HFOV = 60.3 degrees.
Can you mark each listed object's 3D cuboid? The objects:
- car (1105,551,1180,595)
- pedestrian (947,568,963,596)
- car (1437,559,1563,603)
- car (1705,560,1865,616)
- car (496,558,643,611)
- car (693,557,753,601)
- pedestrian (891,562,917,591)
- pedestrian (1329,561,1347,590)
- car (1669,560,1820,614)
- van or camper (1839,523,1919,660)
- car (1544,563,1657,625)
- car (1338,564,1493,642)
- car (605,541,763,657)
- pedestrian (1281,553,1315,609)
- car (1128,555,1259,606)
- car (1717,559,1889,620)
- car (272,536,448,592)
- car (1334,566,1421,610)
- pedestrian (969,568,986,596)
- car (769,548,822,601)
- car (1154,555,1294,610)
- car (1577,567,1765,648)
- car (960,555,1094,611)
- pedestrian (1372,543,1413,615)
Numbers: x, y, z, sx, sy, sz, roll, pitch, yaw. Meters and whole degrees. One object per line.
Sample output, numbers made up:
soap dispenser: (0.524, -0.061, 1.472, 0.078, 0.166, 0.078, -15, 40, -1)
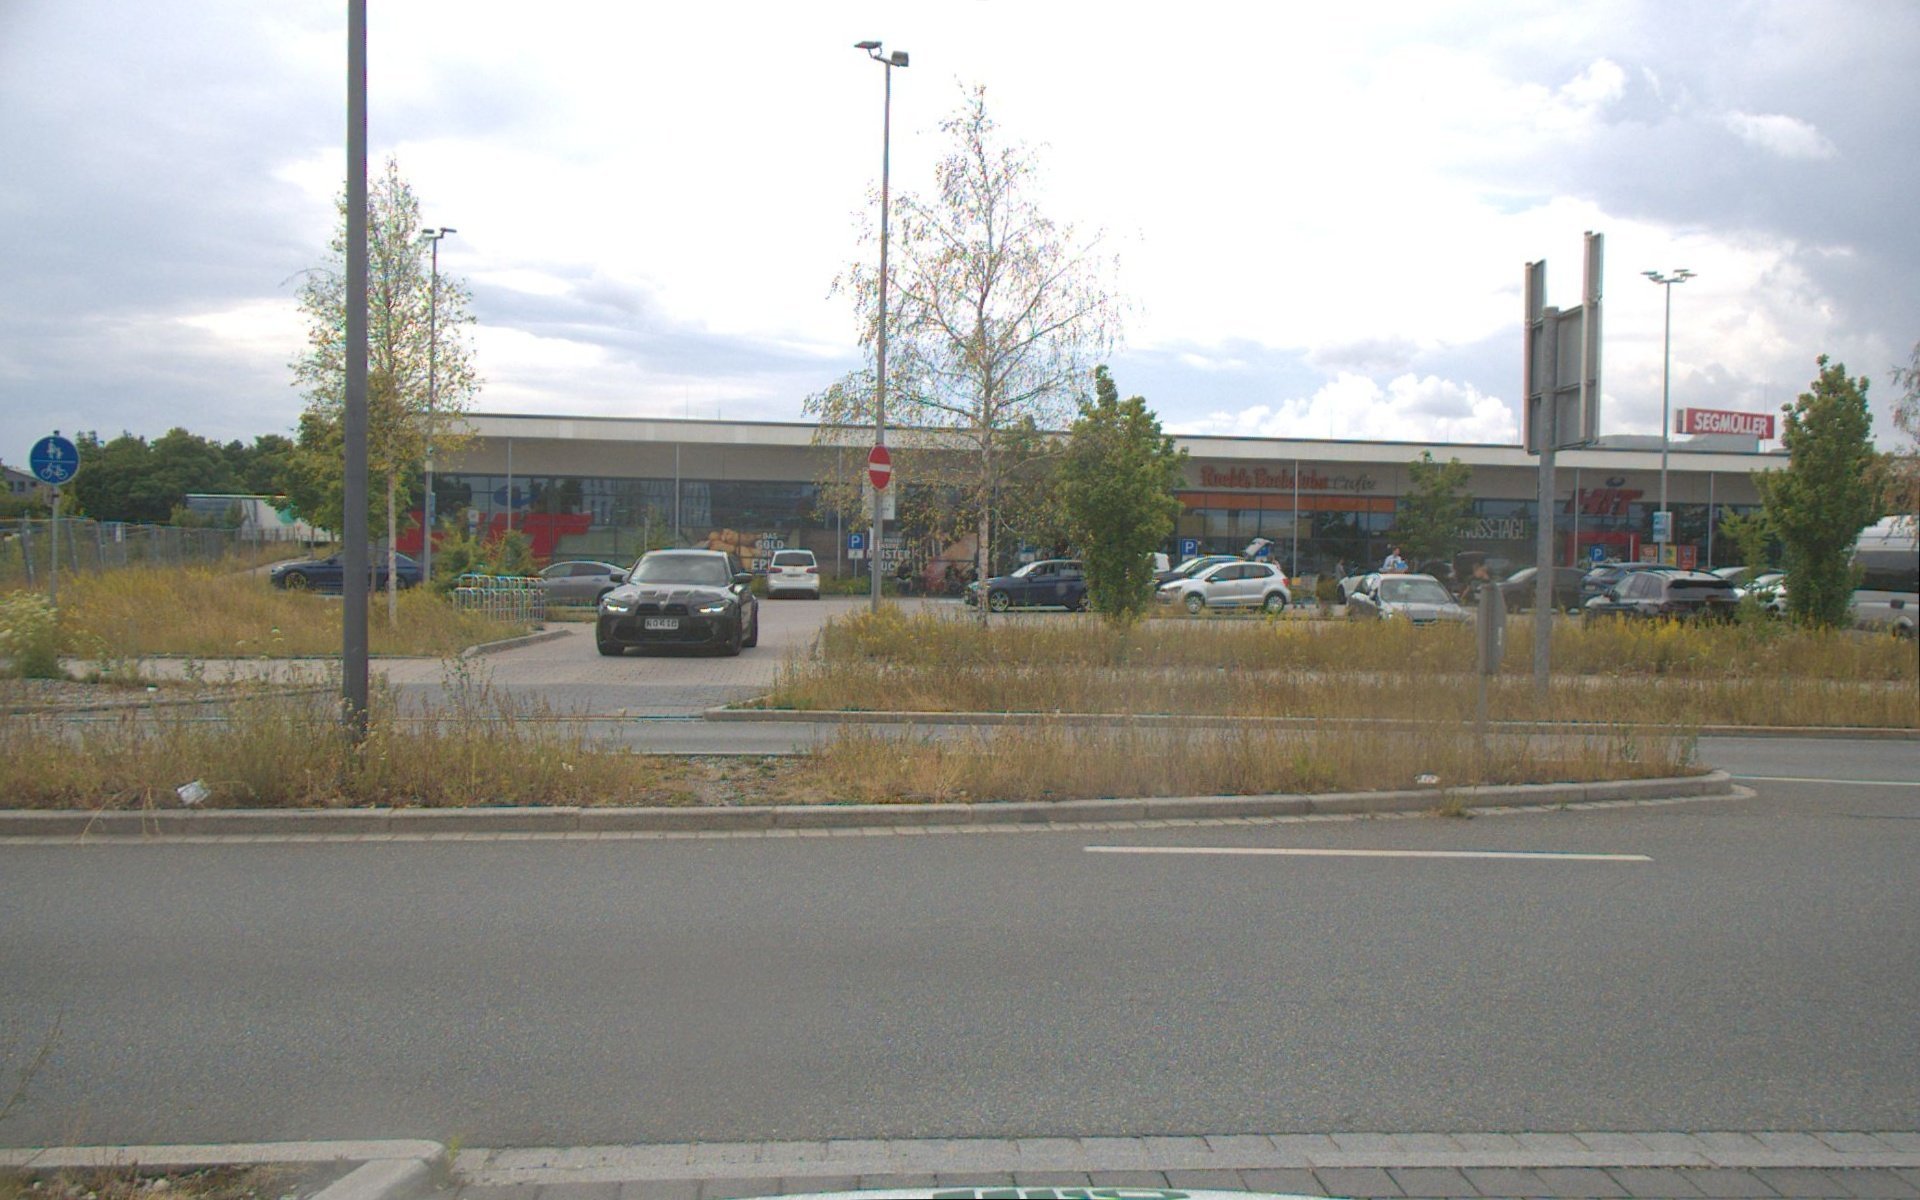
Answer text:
car: (6.694, -1.028, 60.984, 1.955, 1.534, 3.996, 1, 2, -5)
pedestrian: (-0.196, -0.763, 68.601, 0.566, 1.143, 0.560, 0, 1, -11)
car: (19.802, -0.707, 60.746, 3.910, 1.534, 1.998, 1, 2, -6)
car: (25.248, -0.387, 50.738, 3.904, 1.646, 2.001, 1, 2, 1)
car: (-11.073, -0.452, 47.114, 3.914, 1.375, 1.996, 1, 1, -10)
car: (-8.370, -0.780, 58.672, 1.869, 1.469, 3.997, 1, 2, -5)
pedestrian: (-2.323, -0.997, 68.852, 0.953, 1.174, 1.131, 1, 2, -9)
pedestrian: (15.883, -1.021, 69.503, 0.549, 1.222, 0.527, 1, 1, -7)
car: (25.331, -0.427, 53.503, 3.904, 1.646, 2.001, 1, 2, 1)
van or camper: (18.936, -0.157, 31.754, 2.234, 2.535, 4.003, 1, 1, 6)
car: (18.601, -0.210, 48.224, 1.777, 1.682, 4.001, 1, 2, 1)
car: (9.008, 0.015, 33.051, 1.948, 1.408, 4.150, 1, 1, 0)
car: (-3.810, -0.063, 23.484, 1.744, 1.470, 4.607, 1, 1, -4)
pedestrian: (10.361, -0.589, 50.690, 0.805, 1.660, 0.899, 1, 1, -2)
car: (7.154, -0.610, 50.812, 3.676, 1.479, 1.665, 1, 2, -8)
car: (24.244, -0.324, 47.674, 3.904, 1.646, 2.001, 1, 2, 1)
car: (-18.691, -1.119, 51.744, 4.919, 1.585, 1.994, 1, 1, -12)
car: (15.658, -0.475, 62.196, 1.955, 1.534, 3.996, 1, 2, -5)
pedestrian: (0.715, -0.728, 67.830, 0.566, 1.143, 0.560, 0, 1, -11)
car: (-5.833, -0.949, 59.039, 1.788, 1.729, 4.231, 1, 3, -5)
car: (7.599, -0.519, 47.775, 3.676, 1.479, 1.665, 1, 2, -8)
car: (14.028, 0.099, 32.900, 1.948, 1.476, 4.150, 1, 1, 0)
car: (1.874, -0.489, 46.678, 3.540, 1.479, 1.665, 1, 2, -9)
pedestrian: (12.641, -0.625, 48.375, 0.847, 2.048, 1.003, 1, 2, -3)
